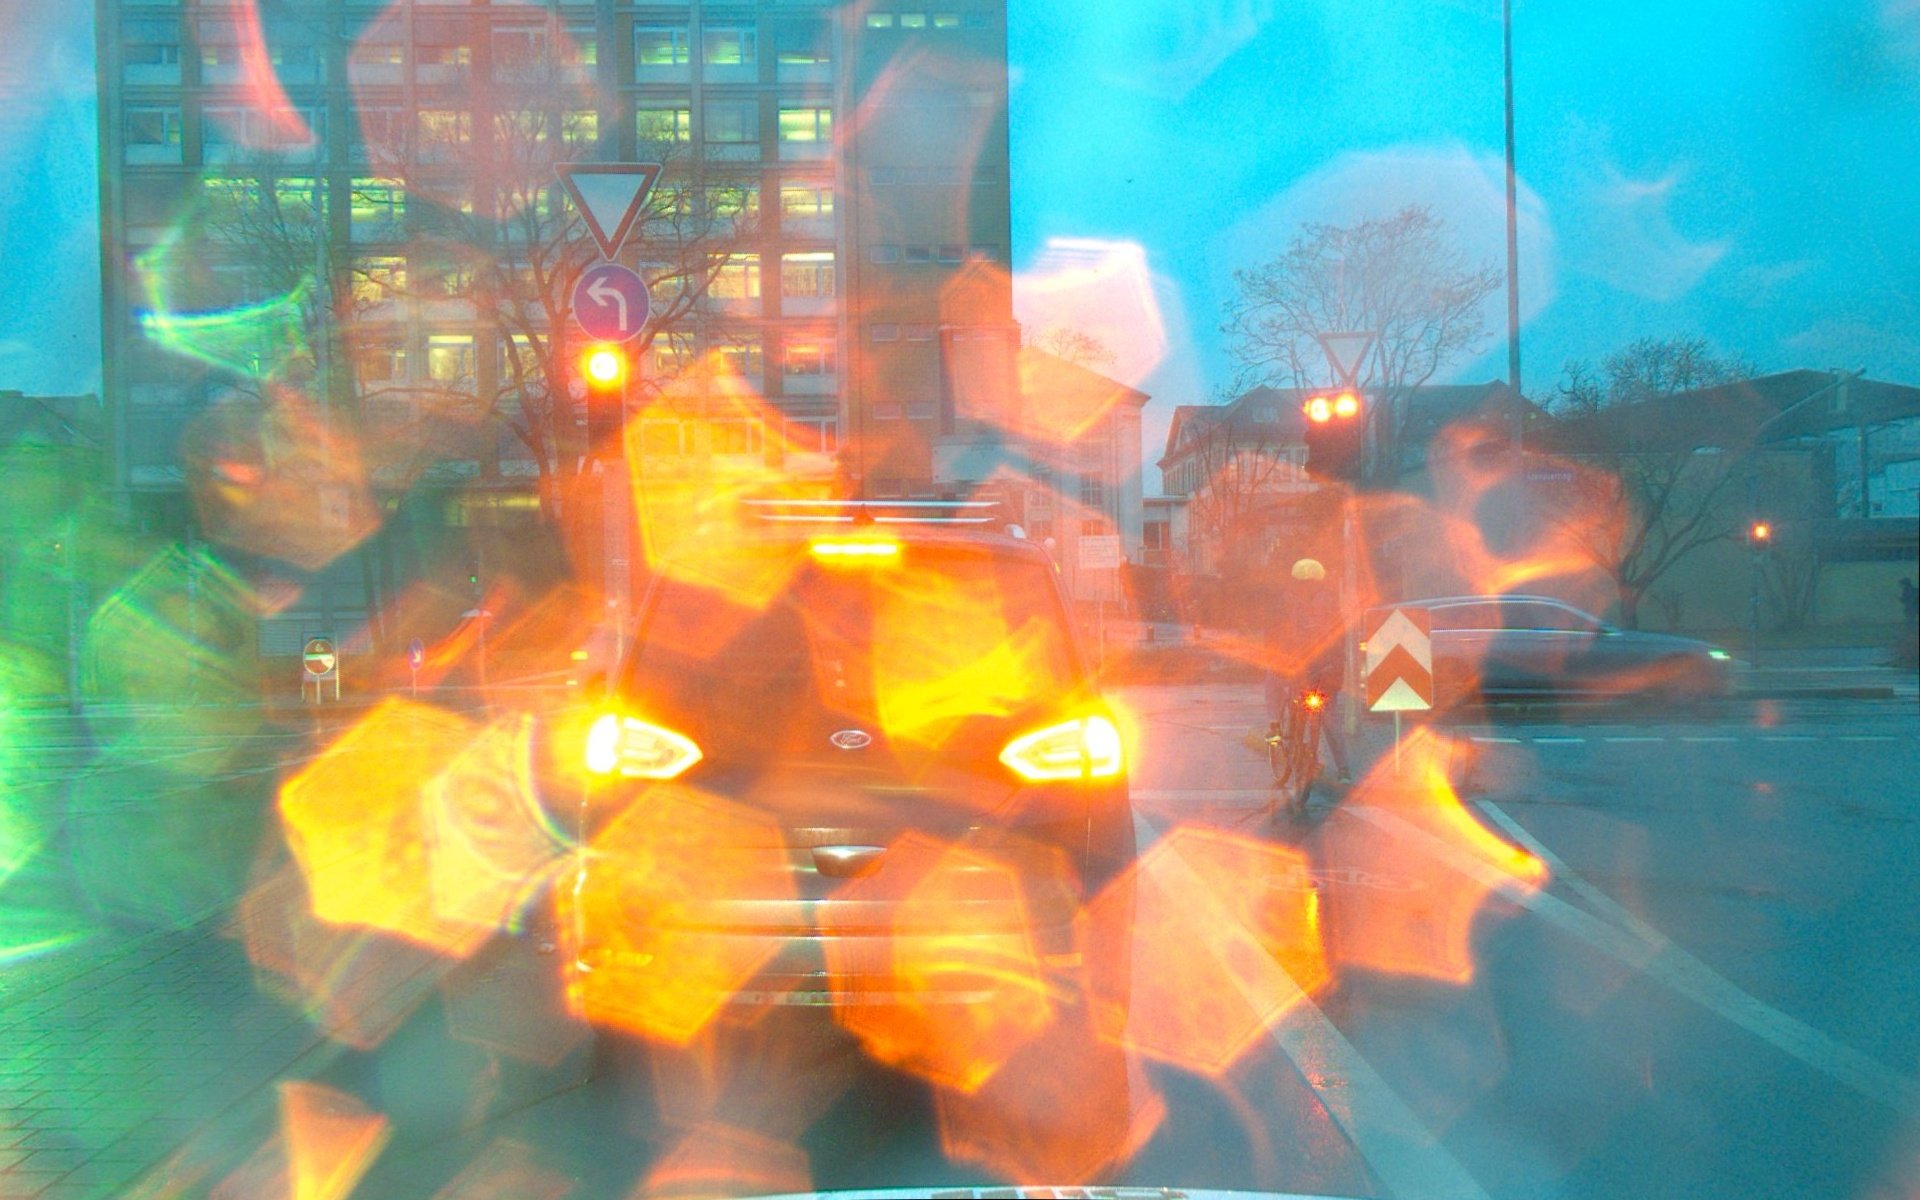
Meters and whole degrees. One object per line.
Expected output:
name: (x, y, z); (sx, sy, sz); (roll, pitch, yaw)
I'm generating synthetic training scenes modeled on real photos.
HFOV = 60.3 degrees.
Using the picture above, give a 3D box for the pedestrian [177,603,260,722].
pedestrian: (-13.027, 1.077, 29.081); (0.908, 2.013, 0.960); (-2, 0, 5)

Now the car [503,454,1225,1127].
car: (-0.287, 0.536, 6.545); (1.953, 1.821, 3.999); (1, 0, -1)

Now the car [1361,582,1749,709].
car: (7.763, 0.602, 21.981); (4.557, 1.503, 1.812); (-2, -1, 8)

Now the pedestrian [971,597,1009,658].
pedestrian: (0.812, 0.732, 44.213); (0.905, 1.559, 1.043); (-2, 0, 4)

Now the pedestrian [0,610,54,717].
pedestrian: (-17.630, 1.158, 30.563); (0.983, 1.874, 1.136); (-1, 3, 33)

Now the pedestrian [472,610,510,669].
pedestrian: (-13.631, 1.142, 48.090); (0.744, 1.656, 0.722); (-2, 0, 19)

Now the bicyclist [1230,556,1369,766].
bicyclist: (2.501, 0.436, 12.284); (0.767, 1.478, 1.133); (1, 0, -1)

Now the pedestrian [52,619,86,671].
pedestrian: (-29.023, 1.462, 53.861); (0.743, 1.656, 0.558); (-2, 0, 14)

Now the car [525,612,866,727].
car: (-3.812, 0.998, 24.187); (4.557, 1.503, 1.813); (-2, -1, 9)

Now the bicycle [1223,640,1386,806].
bicycle: (2.523, 0.869, 12.347); (0.767, 1.094, 1.956); (1, 0, -1)

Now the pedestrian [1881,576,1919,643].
pedestrian: (23.776, 0.225, 41.453); (0.941, 1.631, 0.795); (-2, 0, 6)
